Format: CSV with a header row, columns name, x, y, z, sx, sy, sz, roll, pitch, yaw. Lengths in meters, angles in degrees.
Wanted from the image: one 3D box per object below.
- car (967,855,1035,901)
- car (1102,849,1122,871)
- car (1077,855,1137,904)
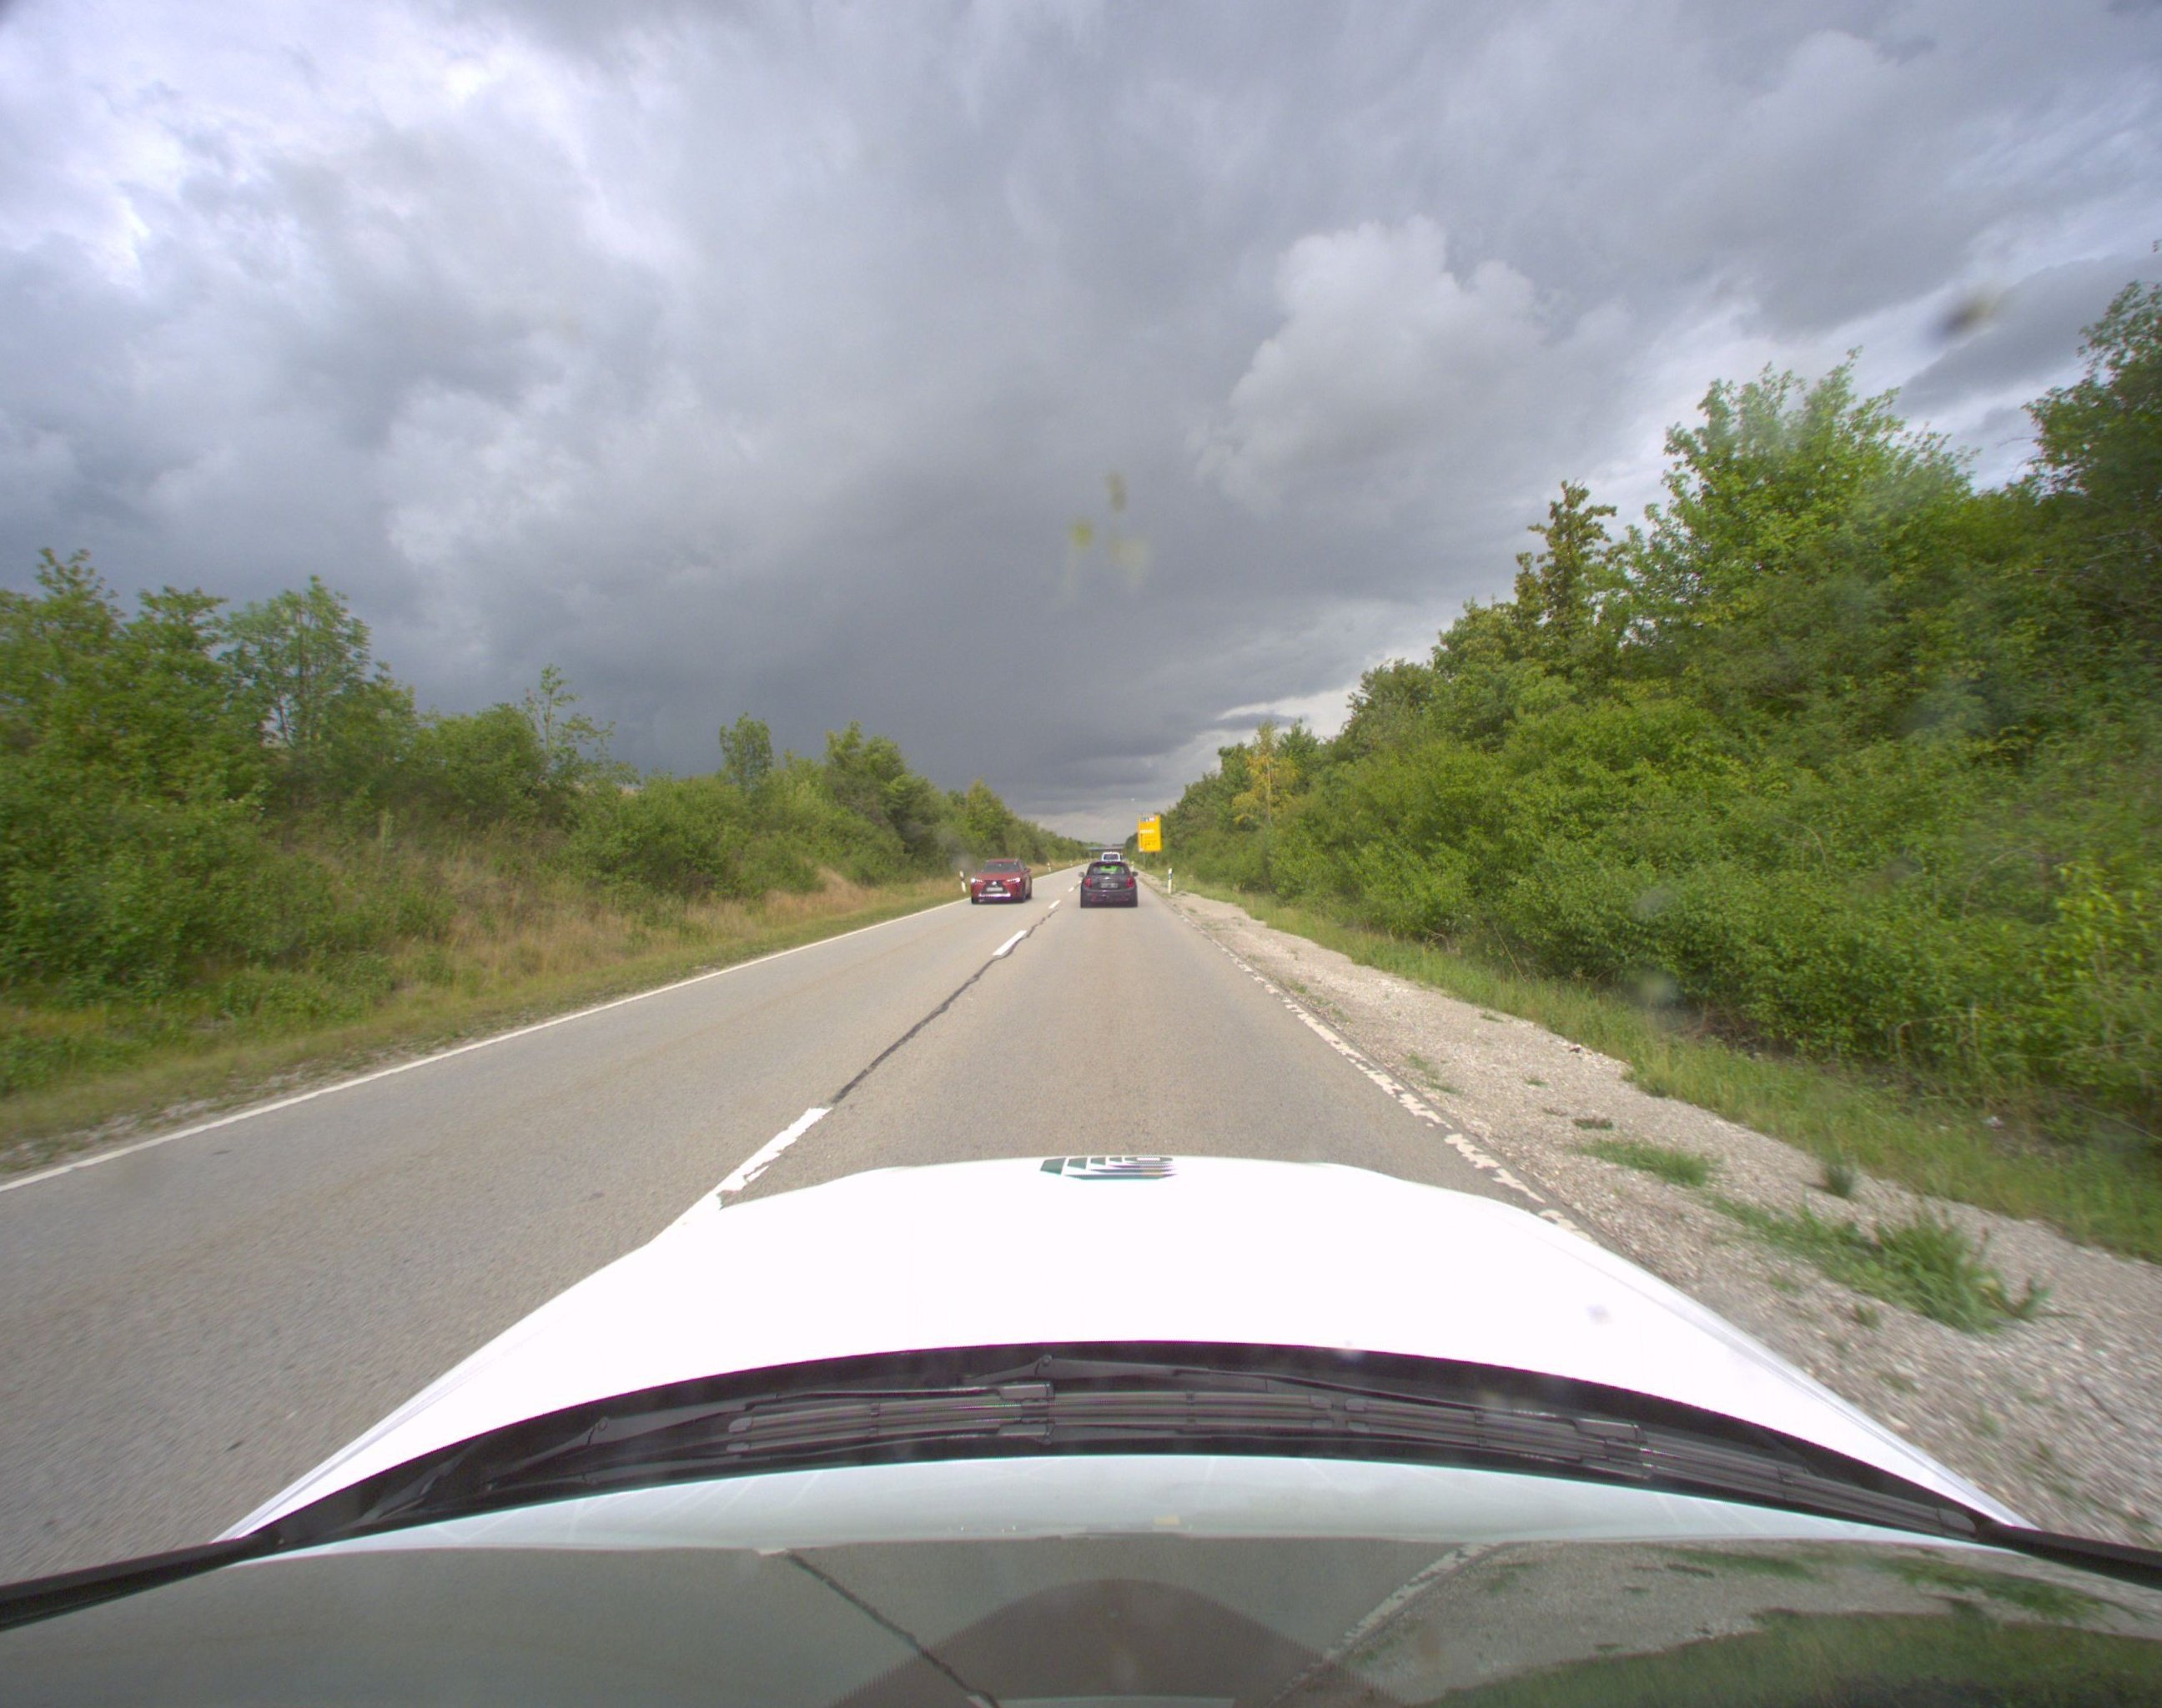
name,x,y,z,sx,sy,sz,roll,pitch,yaw
car,-2.742,0.789,28.907,1.822,1.465,4.413,-1,0,2
car,2.895,0.554,76.382,1.812,2.054,4.001,-1,0,2
car,0.837,0.767,25.943,1.750,1.427,4.001,-1,0,2
